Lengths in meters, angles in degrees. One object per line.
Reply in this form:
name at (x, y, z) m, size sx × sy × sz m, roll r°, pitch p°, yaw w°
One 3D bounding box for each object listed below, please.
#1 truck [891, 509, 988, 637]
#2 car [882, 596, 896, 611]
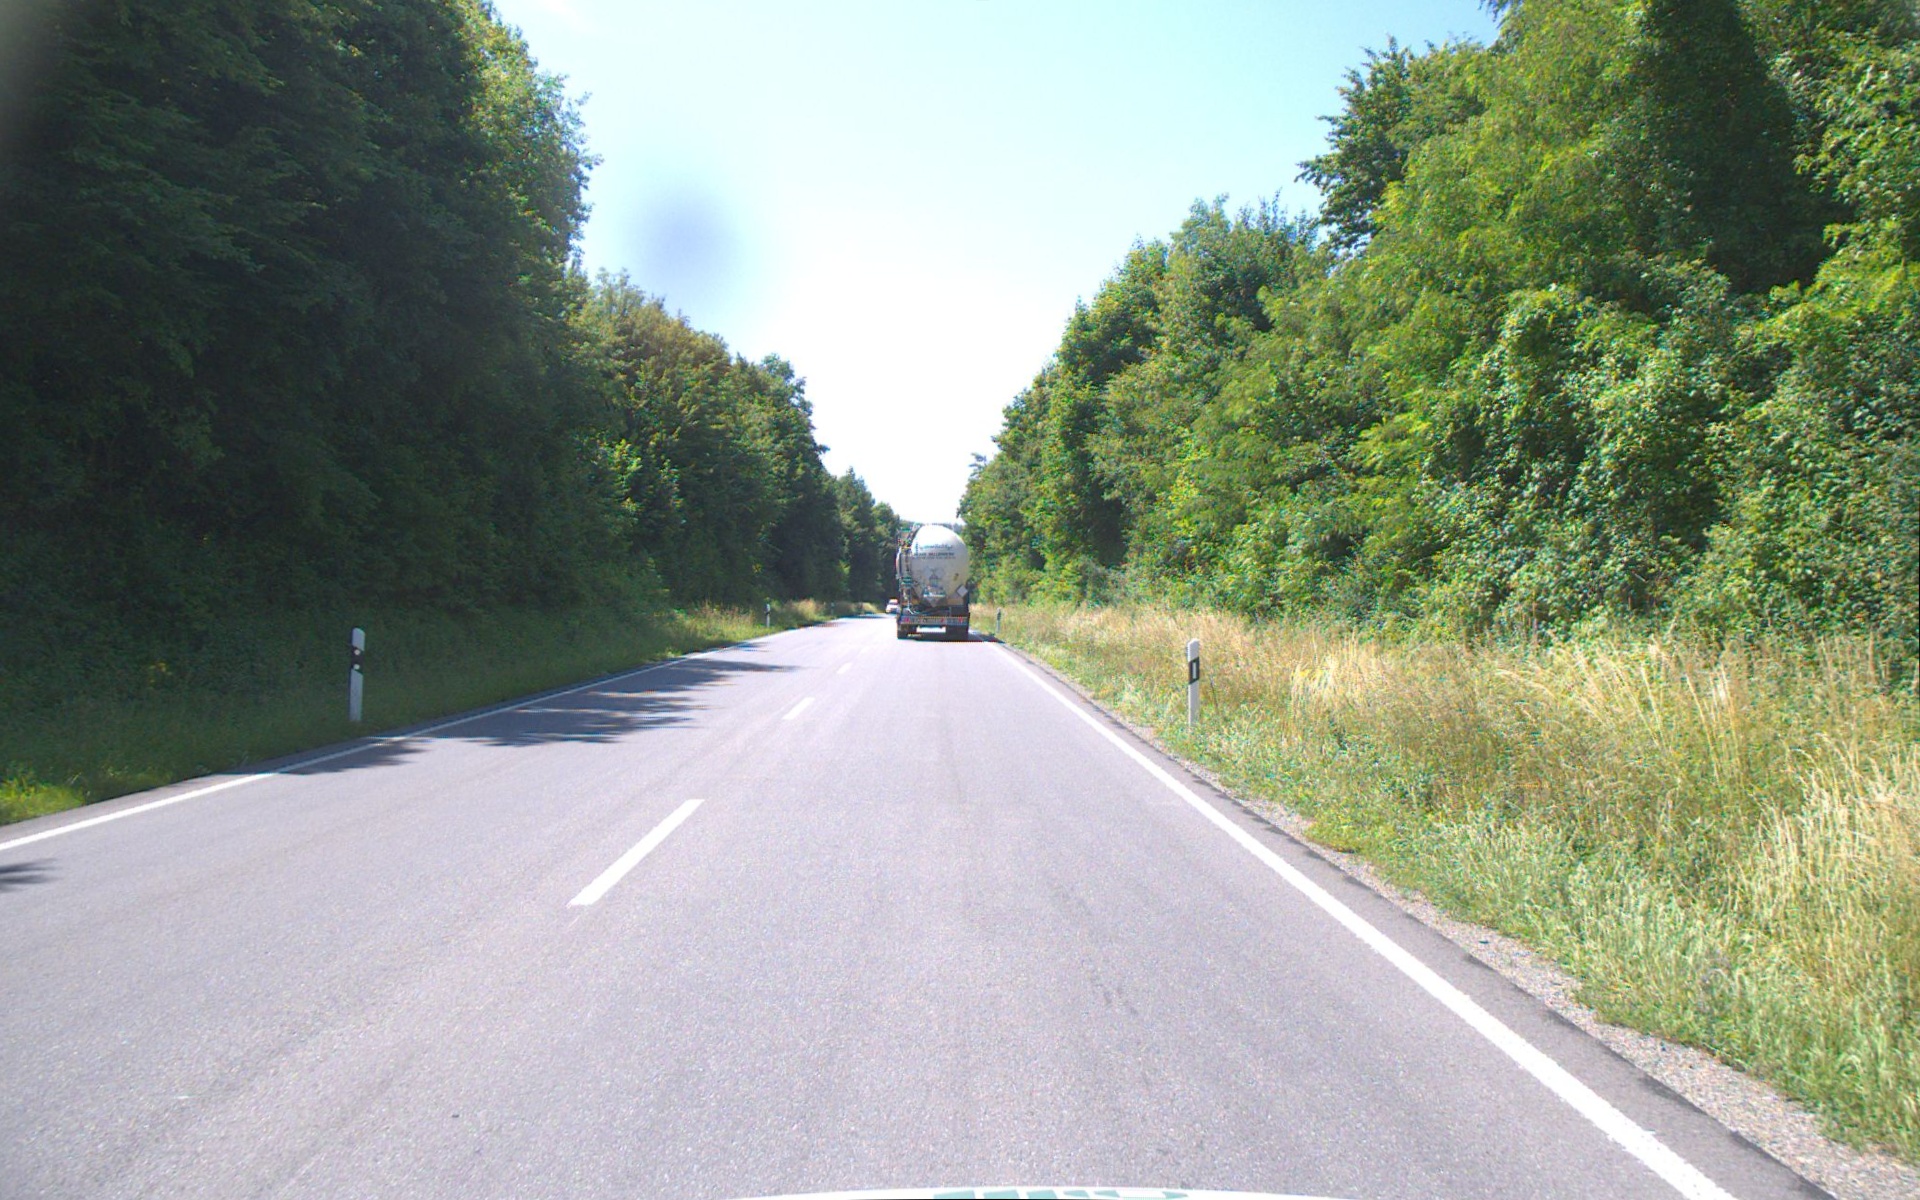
truck at (-0.997, -0.835, 62.135) m, size 2.988 × 4.068 × 15.628 m, roll 3°, pitch -1°, yaw -2°
car at (-8.027, 0.411, 187.694) m, size 1.482 × 1.620 × 3.792 m, roll 1°, pitch 0°, yaw -1°
